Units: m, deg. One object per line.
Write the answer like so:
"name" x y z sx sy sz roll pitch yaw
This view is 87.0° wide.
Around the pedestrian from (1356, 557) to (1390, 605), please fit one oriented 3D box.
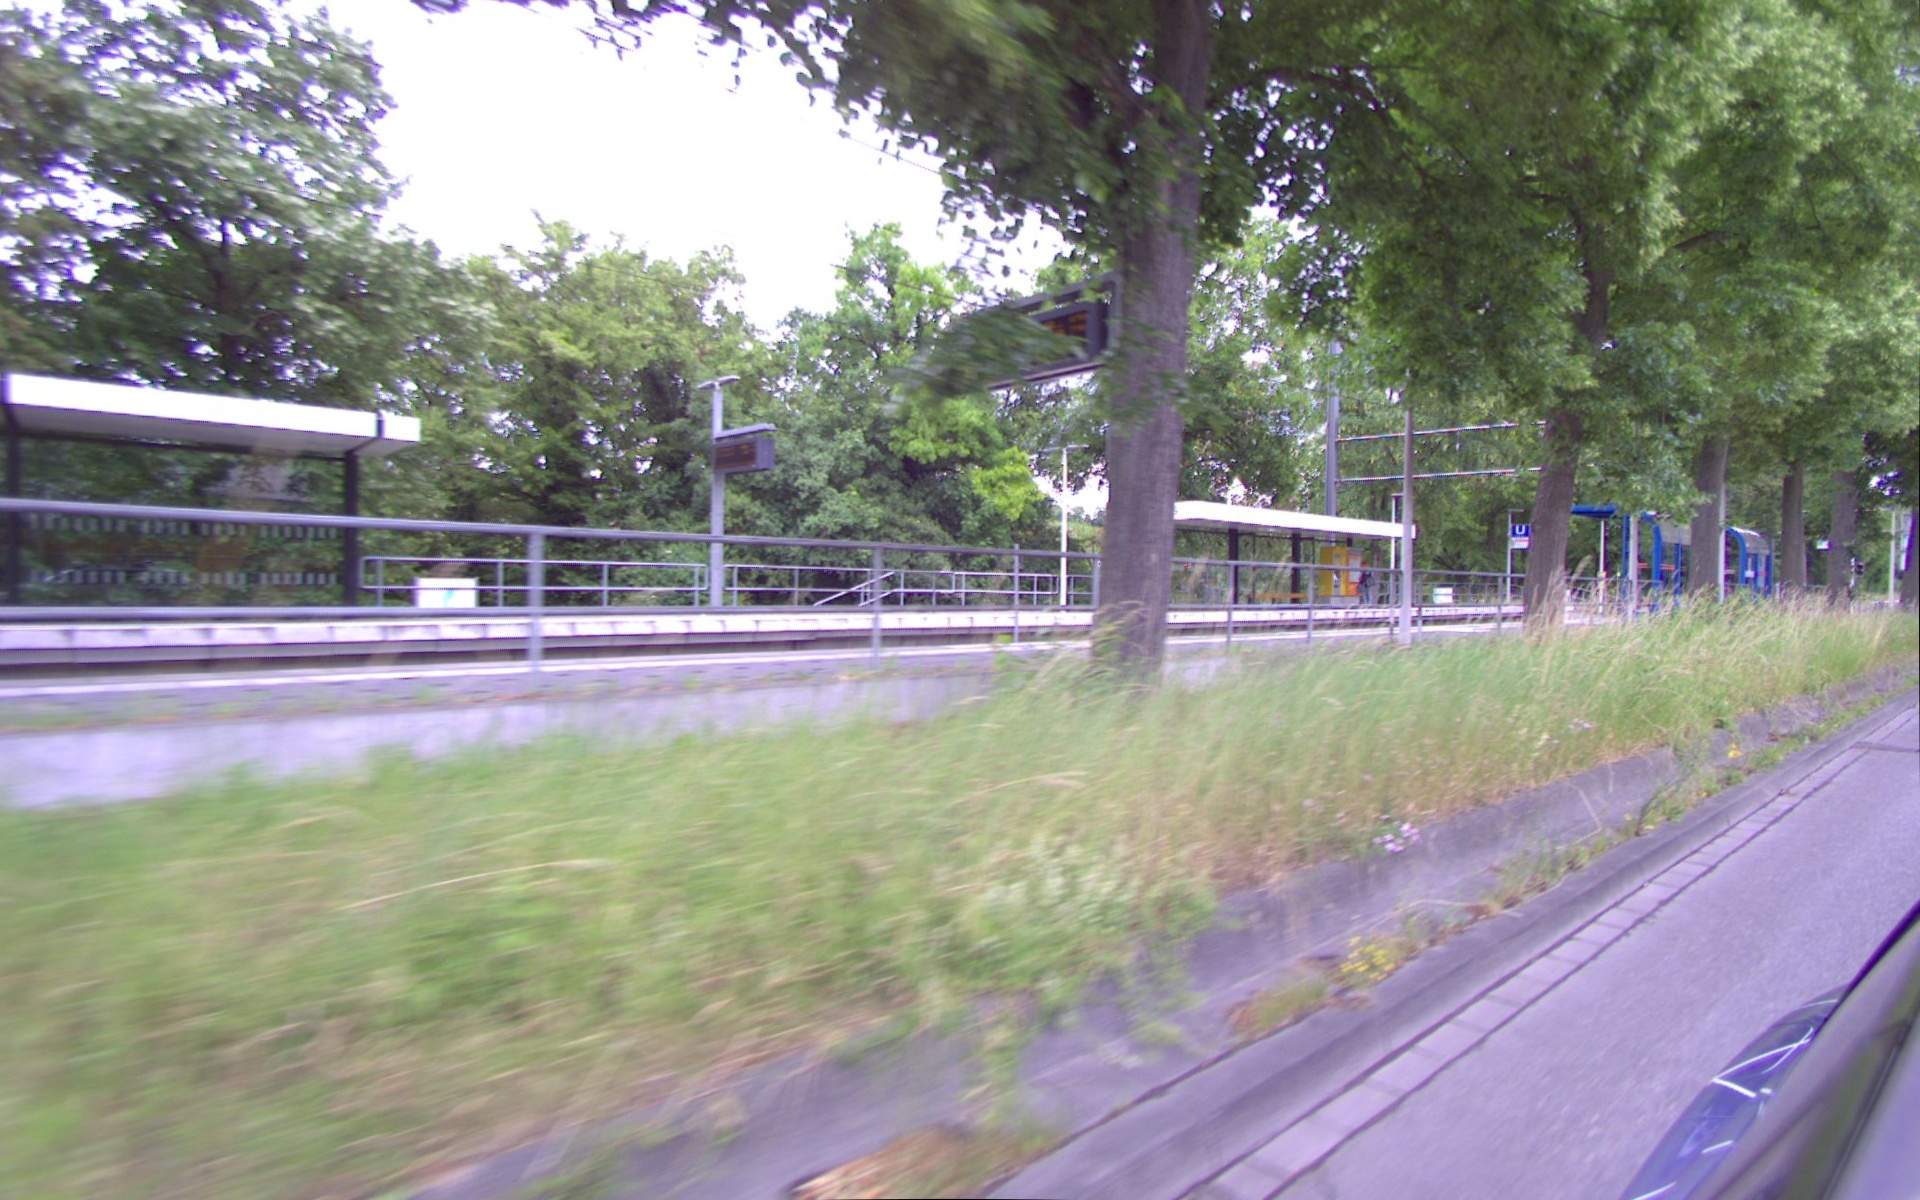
"pedestrian" 13.205 -0.602 32.357 0.711 1.530 0.720 -1 0 -39
